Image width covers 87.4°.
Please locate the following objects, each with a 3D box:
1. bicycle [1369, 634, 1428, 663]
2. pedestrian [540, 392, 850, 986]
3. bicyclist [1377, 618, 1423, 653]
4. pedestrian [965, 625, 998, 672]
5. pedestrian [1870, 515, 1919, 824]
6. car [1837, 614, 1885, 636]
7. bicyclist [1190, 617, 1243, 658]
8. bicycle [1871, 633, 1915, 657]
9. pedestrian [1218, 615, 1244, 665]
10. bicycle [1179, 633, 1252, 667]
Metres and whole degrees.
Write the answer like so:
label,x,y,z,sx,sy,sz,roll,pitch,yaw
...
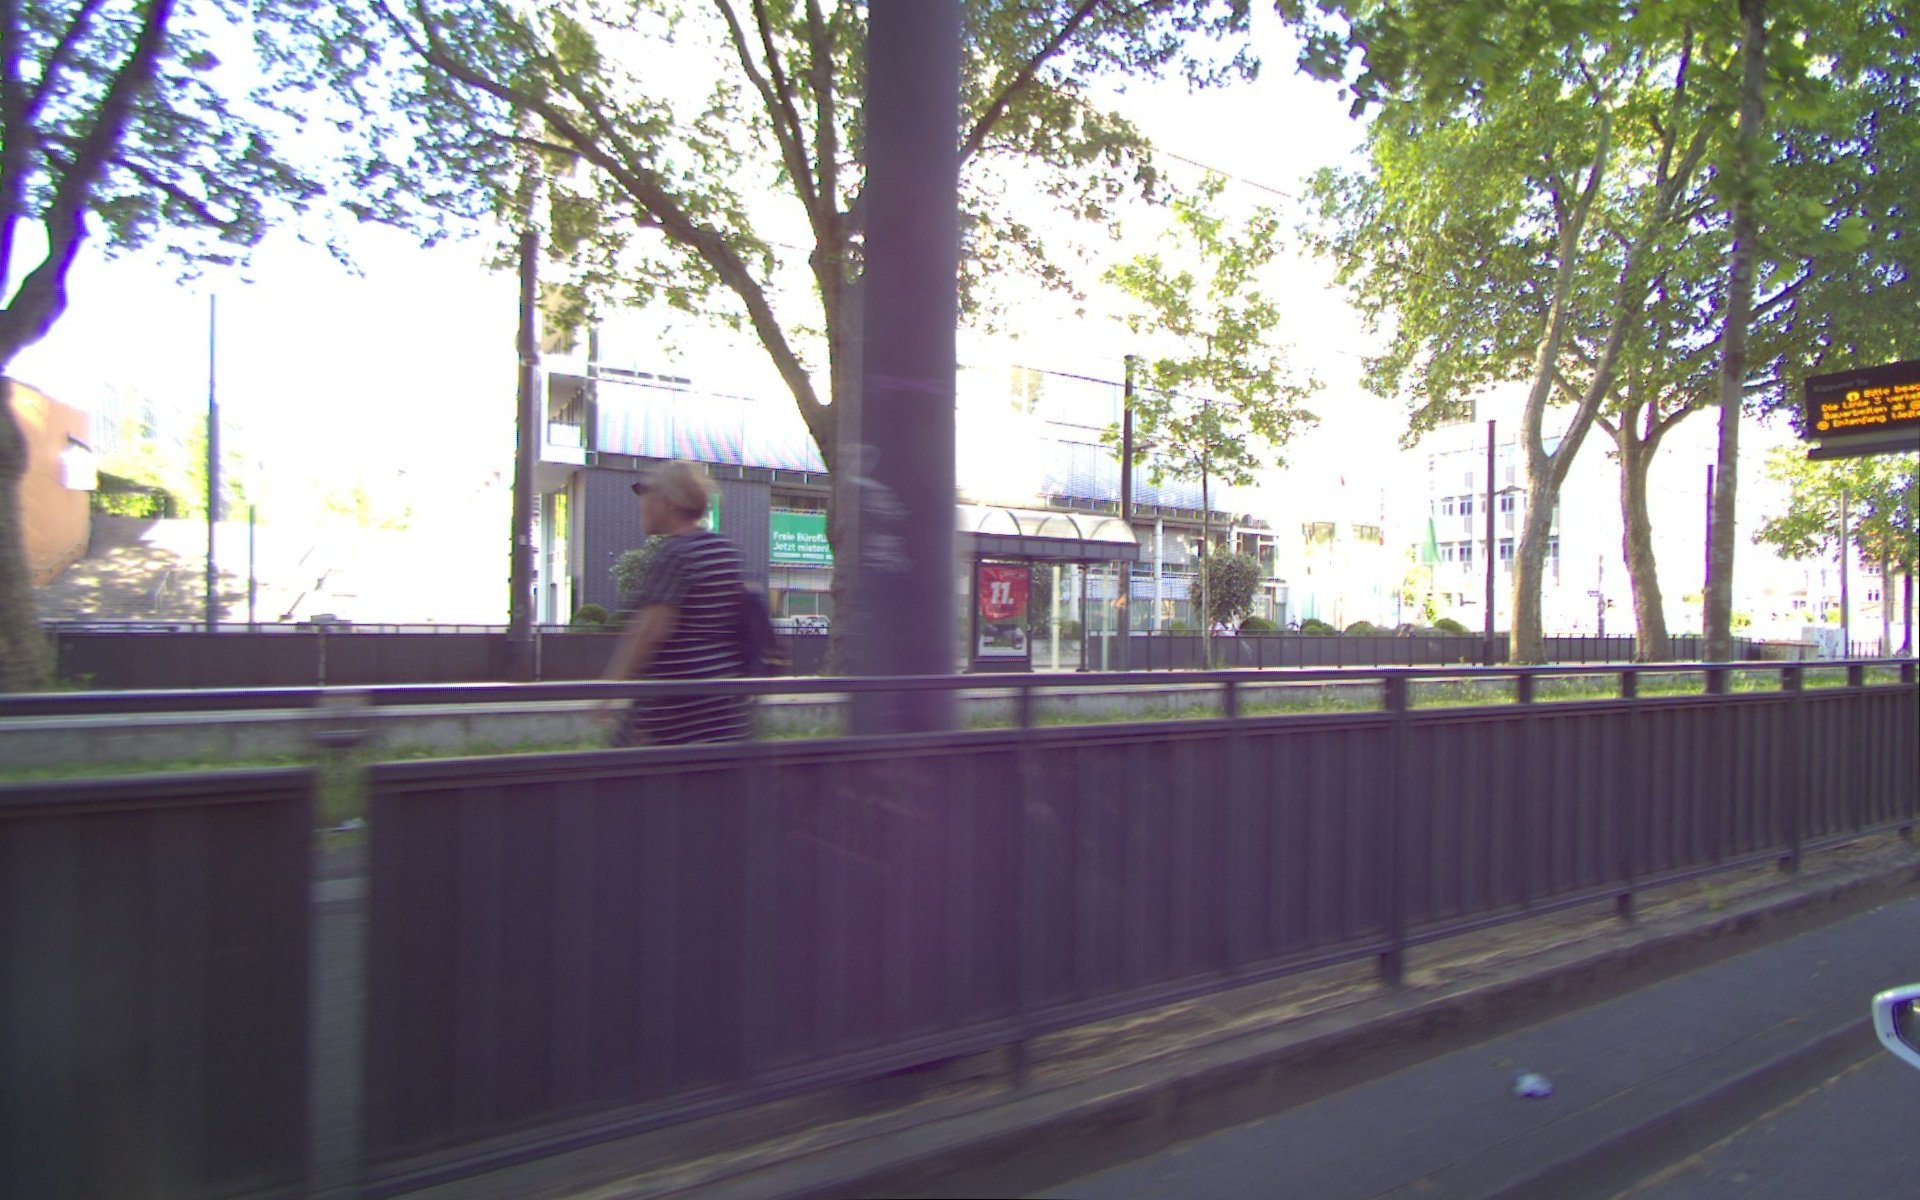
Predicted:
label,x,y,z,sx,sy,sz,roll,pitch,yaw
bicycle,16.697,1.843,38.250,2.558,1.010,0.795,1,1,-34
pedestrian,-0.925,0.265,3.441,0.852,1.725,0.726,1,0,-29
bicyclist,16.736,1.324,38.228,1.360,1.267,0.998,1,1,-33
pedestrian,0.759,1.691,35.382,0.759,1.613,0.901,1,-1,-31
pedestrian,6.277,0.437,6.323,0.654,1.912,0.643,1,-1,-31
car,88.753,2.468,98.939,4.664,2.040,1.986,1,-1,-27
bicyclist,8.340,1.195,32.671,1.360,1.267,0.998,1,1,-33
bicycle,40.005,1.931,43.069,1.702,0.958,0.810,1,-1,-26
pedestrian,11.100,1.608,41.098,0.825,2.003,0.602,1,1,-33
bicycle,8.313,1.615,32.644,2.558,1.010,0.795,1,1,-34
